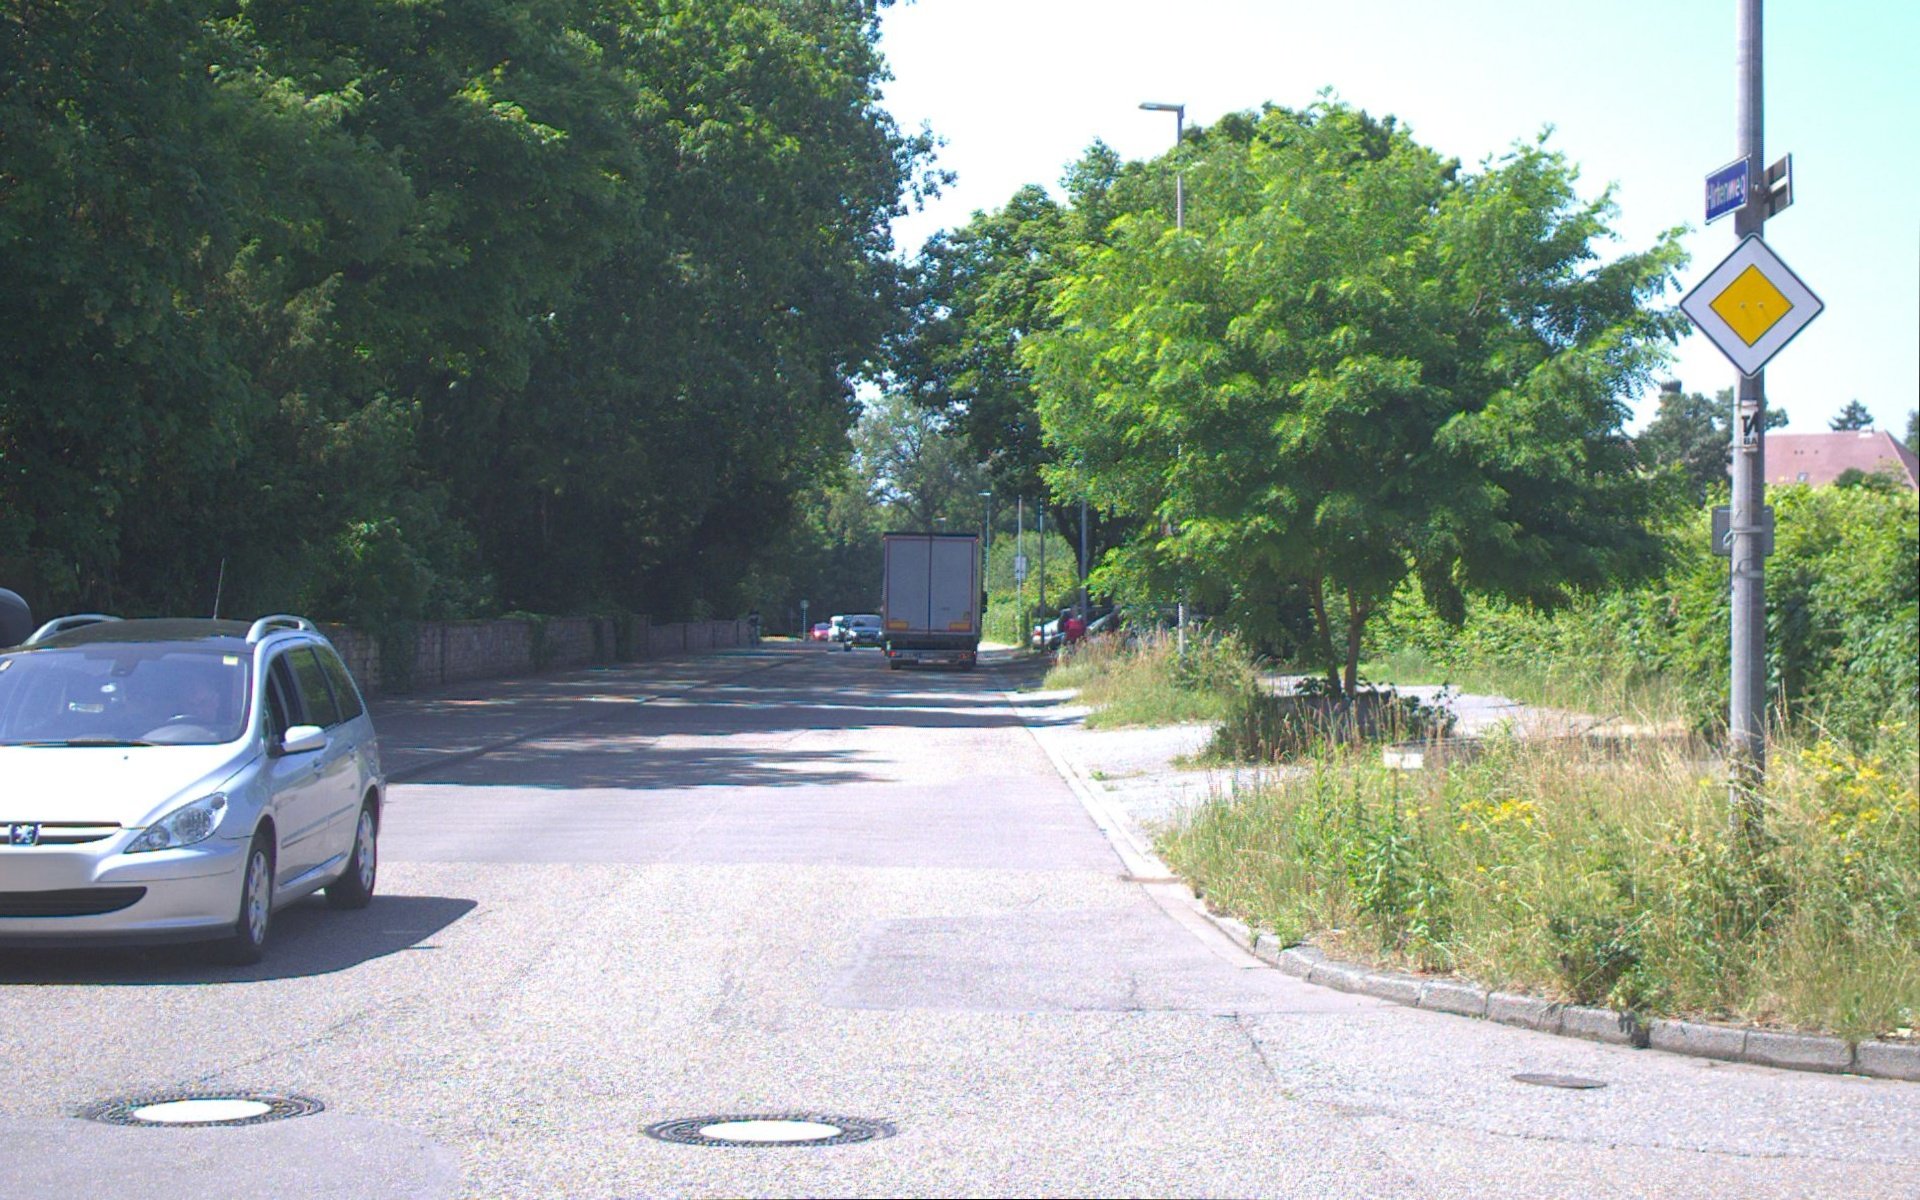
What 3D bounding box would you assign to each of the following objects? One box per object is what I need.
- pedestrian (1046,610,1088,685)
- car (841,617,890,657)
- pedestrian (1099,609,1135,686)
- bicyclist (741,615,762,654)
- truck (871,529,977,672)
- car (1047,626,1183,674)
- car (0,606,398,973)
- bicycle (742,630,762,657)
[{"bbox_3d":[2.407,1.078,77.410,0.863,1.672,0.885,1,-1,-2],"label":"pedestrian"},{"bbox_3d":[-4.081,1.635,149.033,1.993,1.678,4.262,1,-1,0],"label":"car"},{"bbox_3d":[3.573,1.074,78.218,0.739,1.733,0.885,1,-1,-2],"label":"pedestrian"},{"bbox_3d":[-9.079,1.502,149.914,0.832,1.710,0.957,1,-1,0],"label":"bicyclist"},{"bbox_3d":[-0.961,0.140,99.016,2.733,3.733,13.244,2,-1,0],"label":"truck"},{"bbox_3d":[4.828,1.568,107.637,4.196,1.440,1.738,1,-1,1],"label":"car"},{"bbox_3d":[-4.010,0.835,16.877,1.791,1.567,4.271,0,-1,0],"label":"car"},{"bbox_3d":[-9.075,1.892,149.883,0.718,1.155,2.230,1,-1,0],"label":"bicycle"}]
